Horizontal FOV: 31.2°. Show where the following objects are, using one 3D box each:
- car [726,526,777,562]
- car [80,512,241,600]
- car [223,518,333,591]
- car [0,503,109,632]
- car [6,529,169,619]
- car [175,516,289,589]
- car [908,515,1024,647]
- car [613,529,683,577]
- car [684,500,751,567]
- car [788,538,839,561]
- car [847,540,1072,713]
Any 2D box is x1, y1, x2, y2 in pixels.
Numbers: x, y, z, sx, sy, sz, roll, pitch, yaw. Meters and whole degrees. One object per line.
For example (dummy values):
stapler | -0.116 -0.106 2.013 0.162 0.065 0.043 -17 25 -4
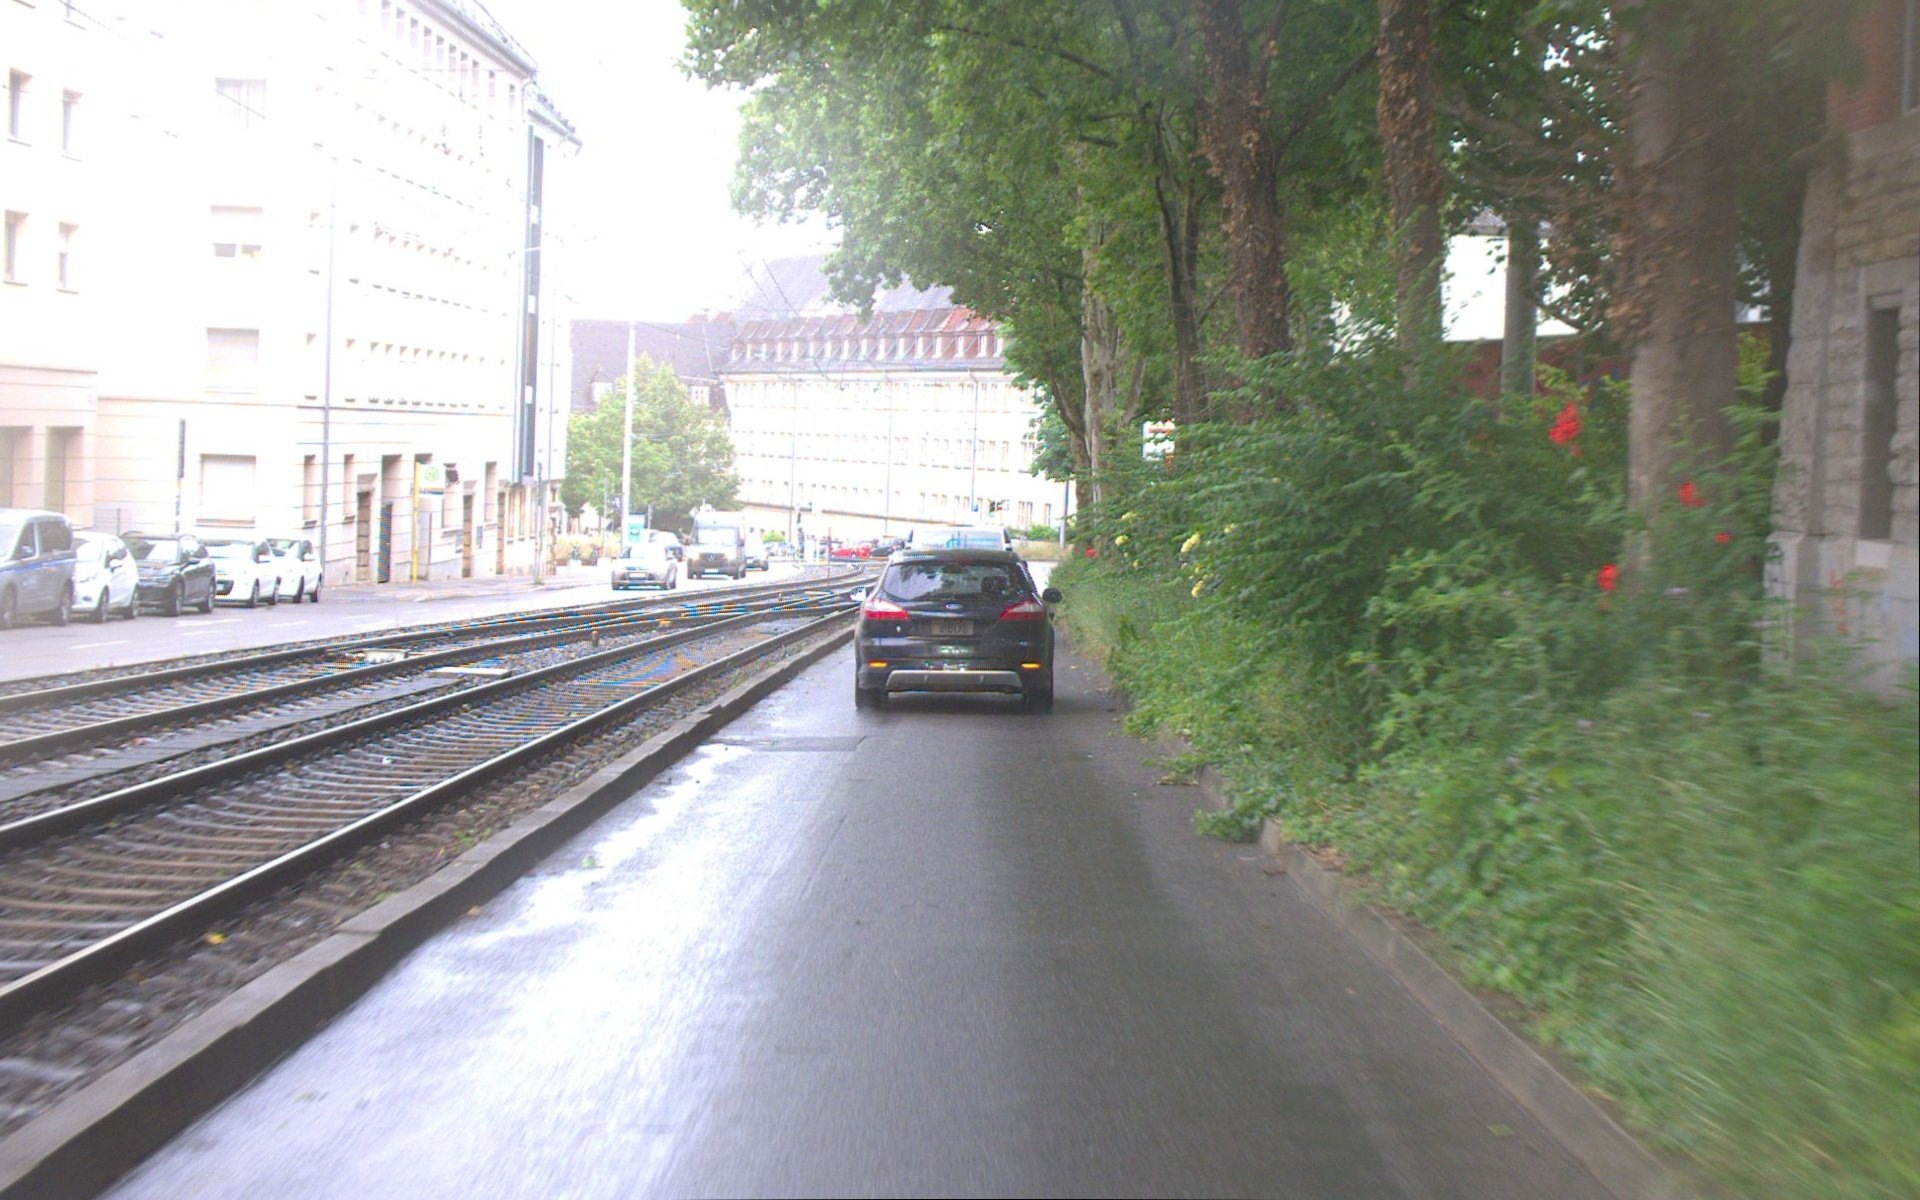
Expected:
car | -9.357 -2.543 154.696 1.880 1.481 4.854 1 2 1
car | -14.729 -0.823 63.575 1.813 1.494 4.582 3 1 1
car | -14.909 -0.989 75.271 1.708 1.445 3.542 3 0 -1
car | -15.008 -0.549 52.949 1.994 1.898 5.459 3 1 4
car | -14.755 -0.455 58.294 1.691 1.434 4.049 1 1 0
car | -14.954 -0.992 70.762 1.703 1.392 3.936 2 1 -4
car | 0.061 -0.309 55.066 1.740 2.007 3.904 1 0 -1
car | -9.893 -1.498 109.367 1.712 1.457 4.280 1 1 2
car | -9.518 -2.599 135.329 1.993 2.443 5.998 1 0 1
car | -9.815 -3.403 230.233 1.993 1.537 4.001 0 1 -26
car | -0.067 0.216 32.478 1.933 1.448 4.318 2 0 -2
